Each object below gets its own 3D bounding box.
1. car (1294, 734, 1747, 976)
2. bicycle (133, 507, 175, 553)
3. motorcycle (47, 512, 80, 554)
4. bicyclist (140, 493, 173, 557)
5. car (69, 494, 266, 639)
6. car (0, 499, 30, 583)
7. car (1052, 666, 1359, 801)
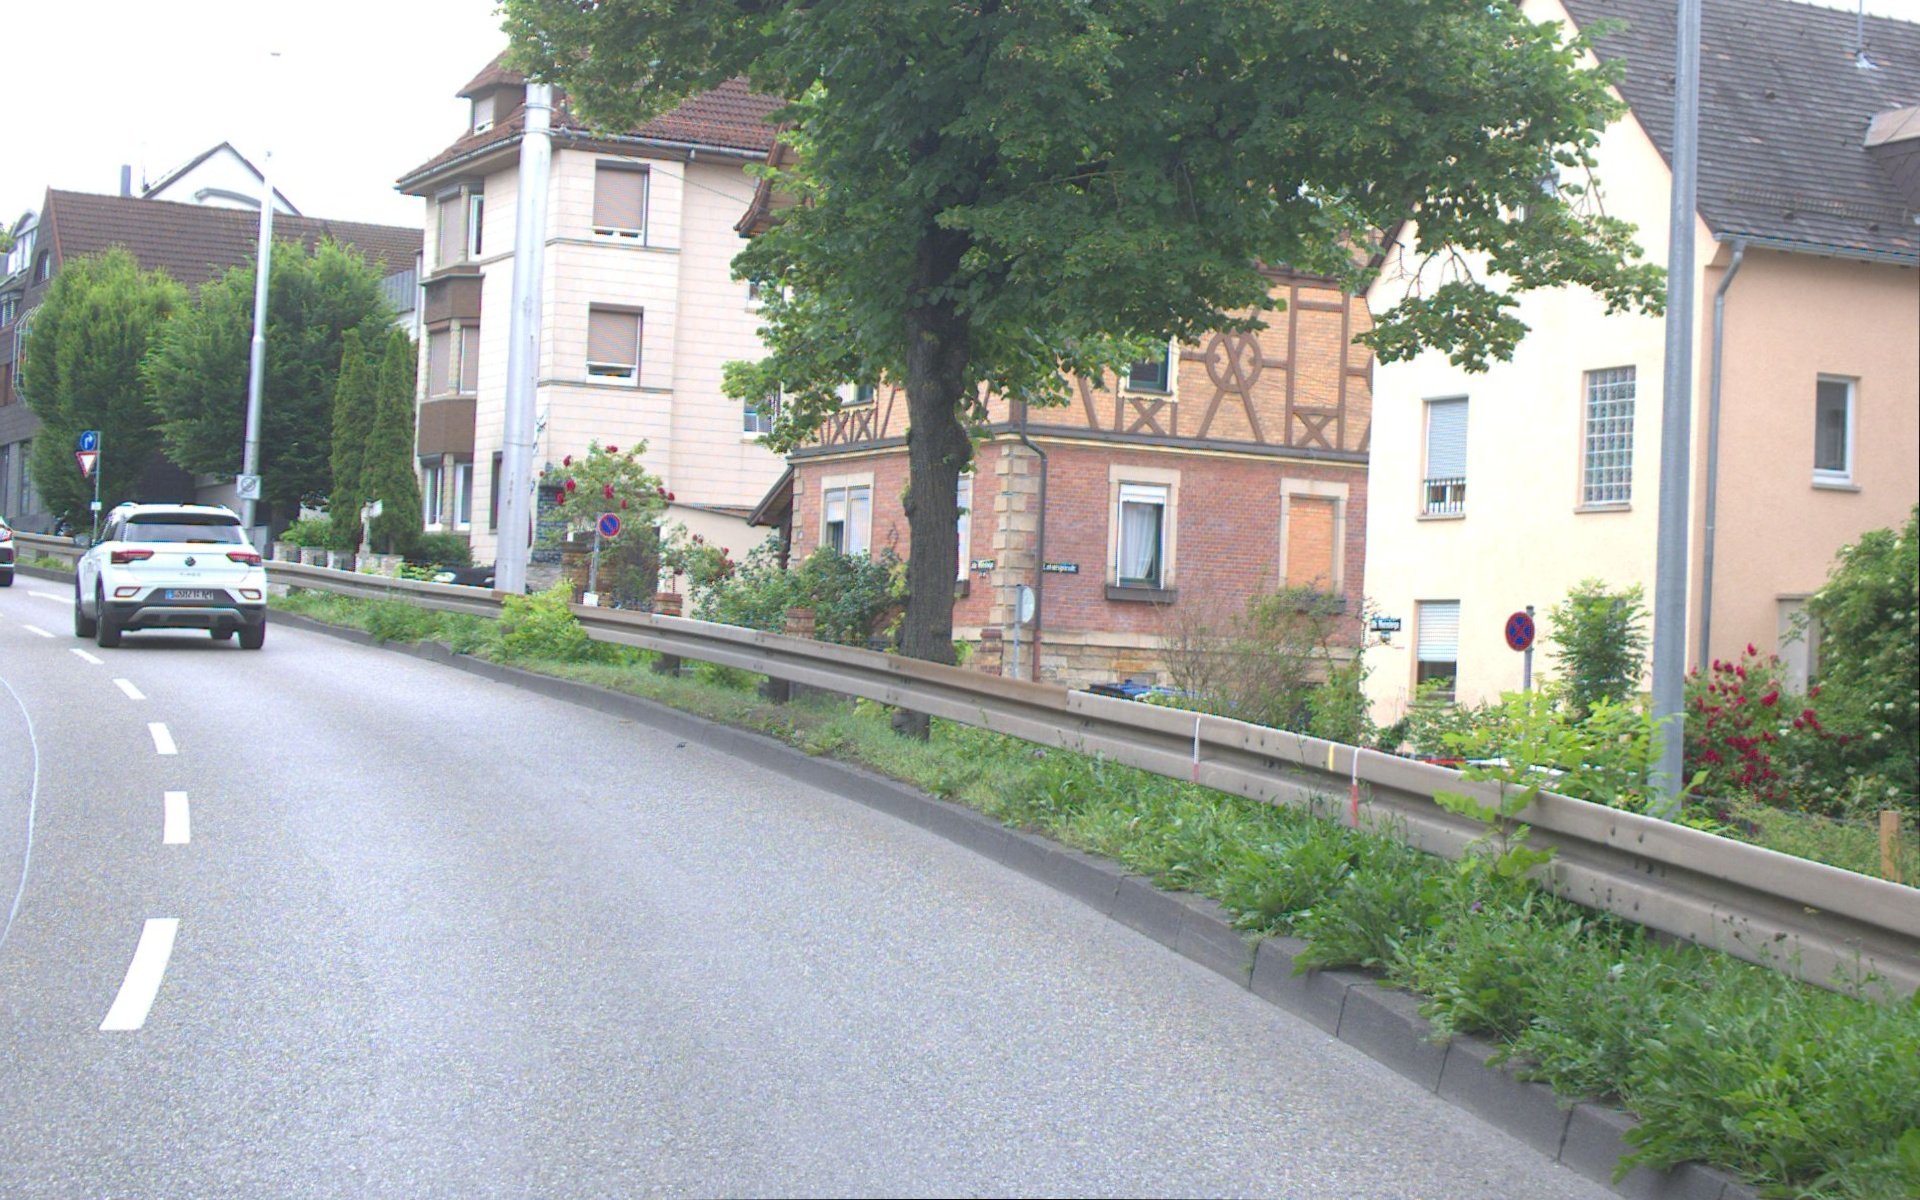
[{"bbox_3d":[5.036,2.286,31.477,1.781,1.664,4.204,4,1,-28],"label":"car"},{"bbox_3d":[-19.782,-1.730,84.396,0.566,1.059,2.006,0,3,-26],"label":"bicycle"},{"bbox_3d":[-26.610,-1.993,102.016,0.608,1.158,2.041,2,2,-23],"label":"motorcycle"},{"bbox_3d":[-19.694,-1.844,84.234,0.566,1.519,0.959,0,3,-26],"label":"bicyclist"},{"bbox_3d":[-8.836,-0.396,38.162,1.796,1.513,3.458,1,2,-18],"label":"car"},{"bbox_3d":[-16.926,-1.034,58.141,1.722,1.371,3.457,0,2,-25],"label":"car"},{"bbox_3d":[3.672,1.997,51.483,3.986,1.568,2.001,6,0,-26],"label":"car"}]
